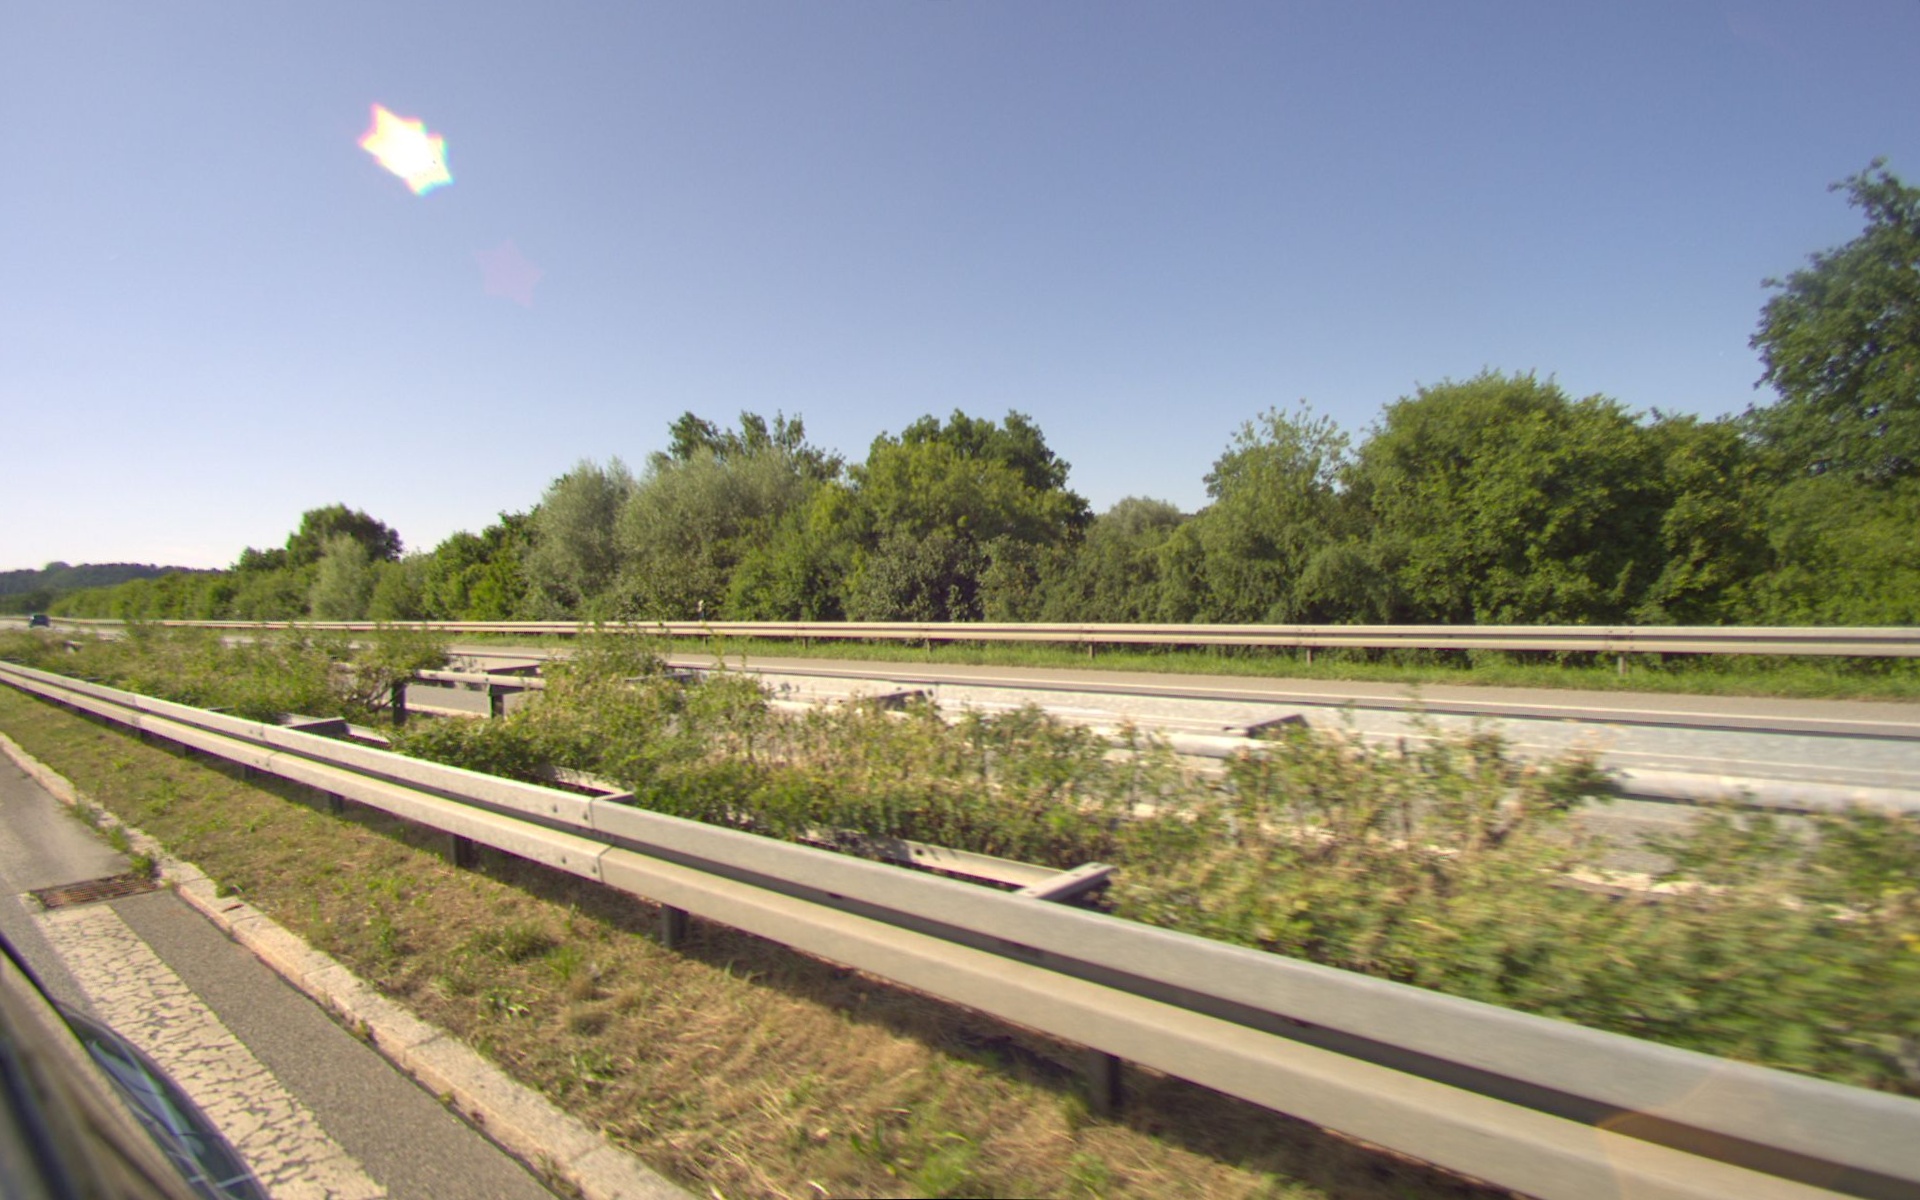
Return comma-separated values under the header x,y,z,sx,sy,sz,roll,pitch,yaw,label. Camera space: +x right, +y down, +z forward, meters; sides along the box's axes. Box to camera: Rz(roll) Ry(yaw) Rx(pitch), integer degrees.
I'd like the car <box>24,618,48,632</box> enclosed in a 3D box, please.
x,y,z,sx,sy,sz,roll,pitch,yaw,label
-101.049,2.739,110.669,4.000,1.452,1.658,-1,-1,43,car
